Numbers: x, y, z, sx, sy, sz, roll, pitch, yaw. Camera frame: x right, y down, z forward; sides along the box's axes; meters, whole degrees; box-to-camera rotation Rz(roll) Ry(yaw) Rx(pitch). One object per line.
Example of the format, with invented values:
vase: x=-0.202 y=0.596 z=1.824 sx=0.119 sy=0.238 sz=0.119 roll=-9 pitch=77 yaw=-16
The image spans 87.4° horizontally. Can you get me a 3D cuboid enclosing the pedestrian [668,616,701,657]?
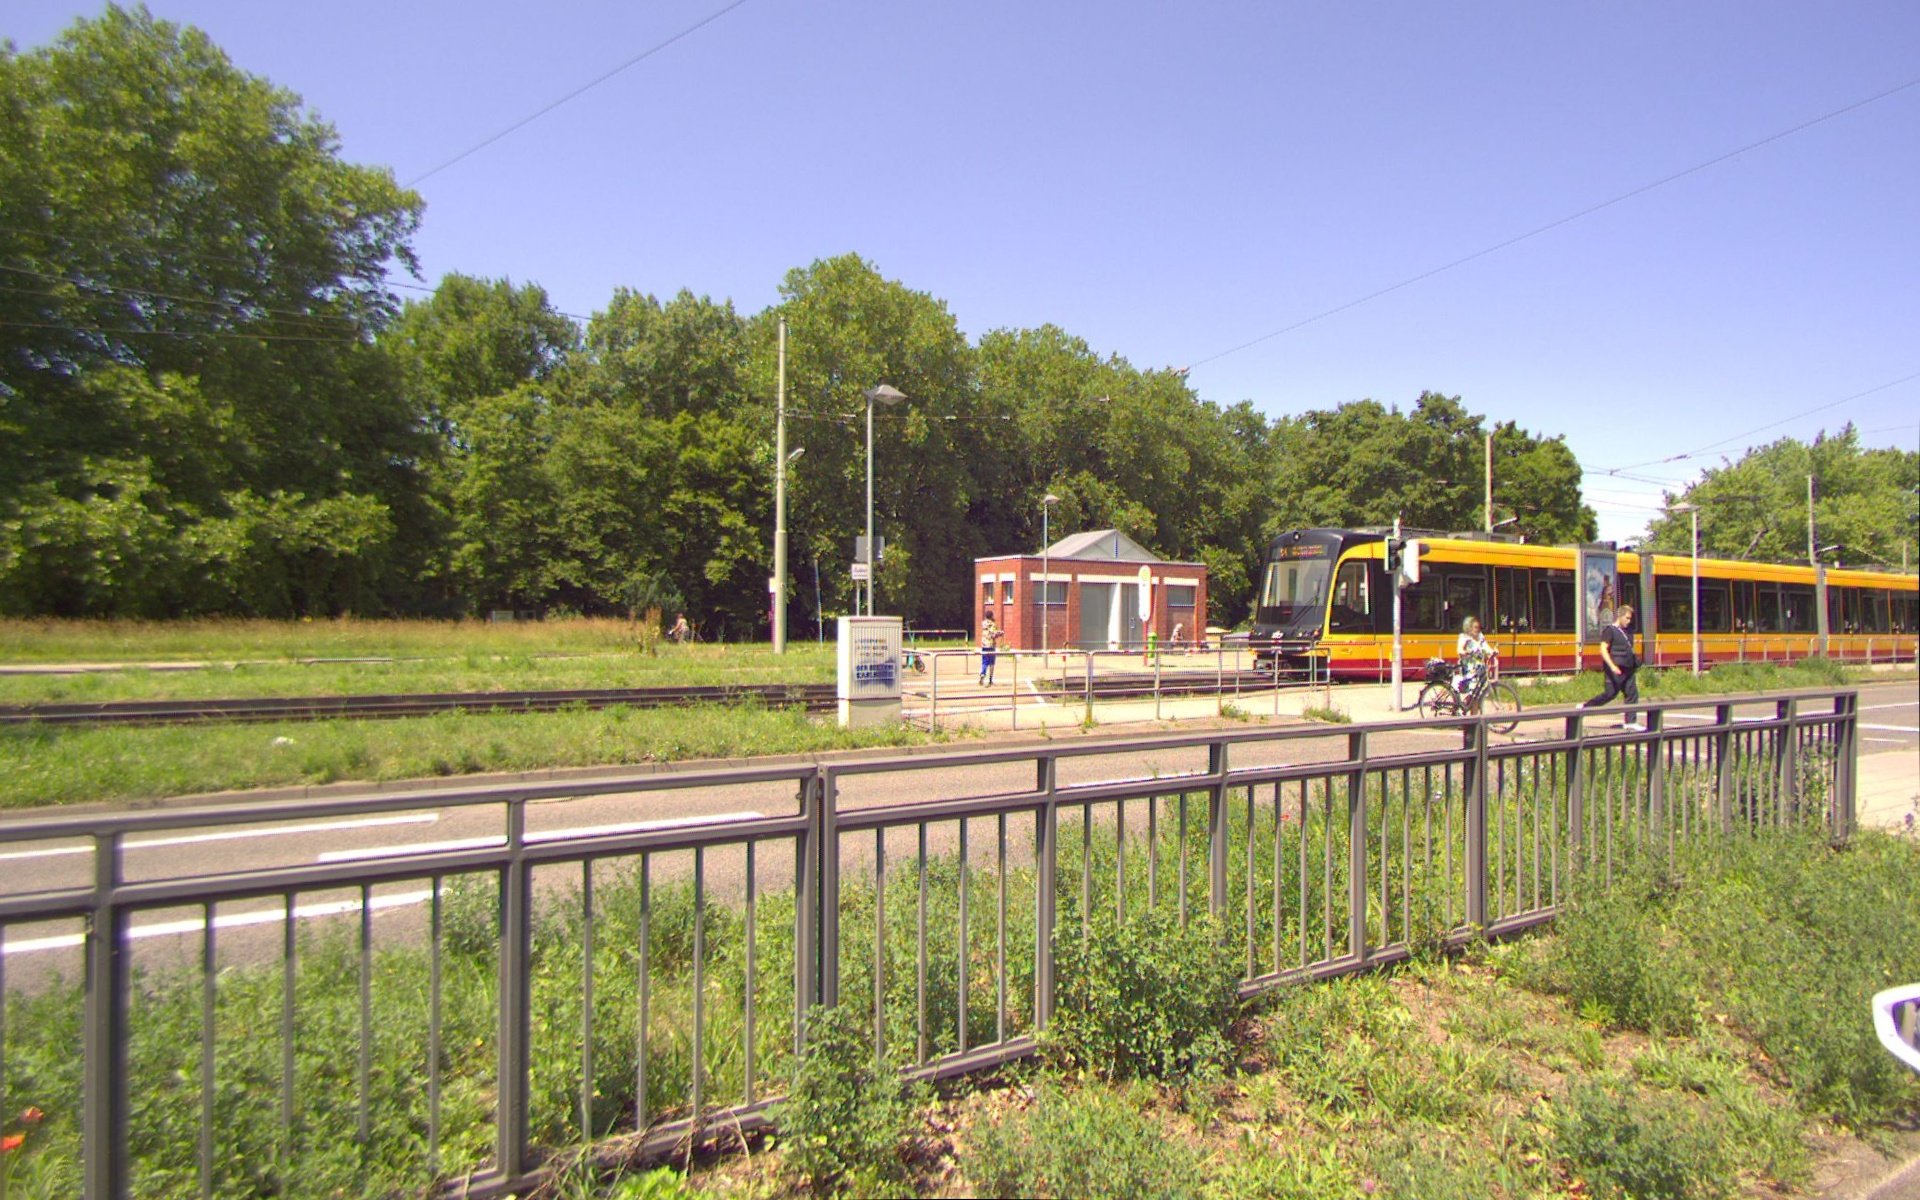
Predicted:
pedestrian: x=-11.828 y=1.547 z=43.089 sx=1.245 sy=1.724 sz=0.517 roll=1 pitch=0 yaw=15

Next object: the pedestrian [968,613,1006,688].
pedestrian: x=0.581 y=1.052 z=21.334 sx=0.527 sy=1.561 sz=0.869 roll=0 pitch=-1 yaw=21

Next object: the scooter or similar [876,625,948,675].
scooter or similar: x=-1.161 y=1.201 z=24.377 sx=1.640 sy=1.142 sz=0.613 roll=1 pitch=0 yaw=15

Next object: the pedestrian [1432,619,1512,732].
pedestrian: x=7.715 y=1.111 z=15.142 sx=0.695 sy=1.650 sz=0.817 roll=1 pitch=0 yaw=-24

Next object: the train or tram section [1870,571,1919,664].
train or tram section: x=49.330 y=0.912 z=46.798 sx=25.694 sy=3.717 sz=2.774 roll=1 pitch=-1 yaw=-31

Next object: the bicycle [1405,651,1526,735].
bicycle: x=7.476 y=1.346 z=14.951 sx=0.239 sy=1.172 sz=1.858 roll=1 pitch=-3 yaw=-24

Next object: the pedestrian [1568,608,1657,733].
pedestrian: x=9.830 y=1.038 z=15.164 sx=0.691 sy=1.820 sz=0.961 roll=1 pitch=0 yaw=-1

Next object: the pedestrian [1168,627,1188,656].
pedestrian: x=7.859 y=1.476 z=36.167 sx=0.516 sy=1.032 sz=0.479 roll=1 pitch=-1 yaw=-28

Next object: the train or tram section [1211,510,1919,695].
train or tram section: x=22.305 y=0.378 z=30.845 sx=37.078 sy=3.717 sz=2.774 roll=1 pitch=-1 yaw=-31
